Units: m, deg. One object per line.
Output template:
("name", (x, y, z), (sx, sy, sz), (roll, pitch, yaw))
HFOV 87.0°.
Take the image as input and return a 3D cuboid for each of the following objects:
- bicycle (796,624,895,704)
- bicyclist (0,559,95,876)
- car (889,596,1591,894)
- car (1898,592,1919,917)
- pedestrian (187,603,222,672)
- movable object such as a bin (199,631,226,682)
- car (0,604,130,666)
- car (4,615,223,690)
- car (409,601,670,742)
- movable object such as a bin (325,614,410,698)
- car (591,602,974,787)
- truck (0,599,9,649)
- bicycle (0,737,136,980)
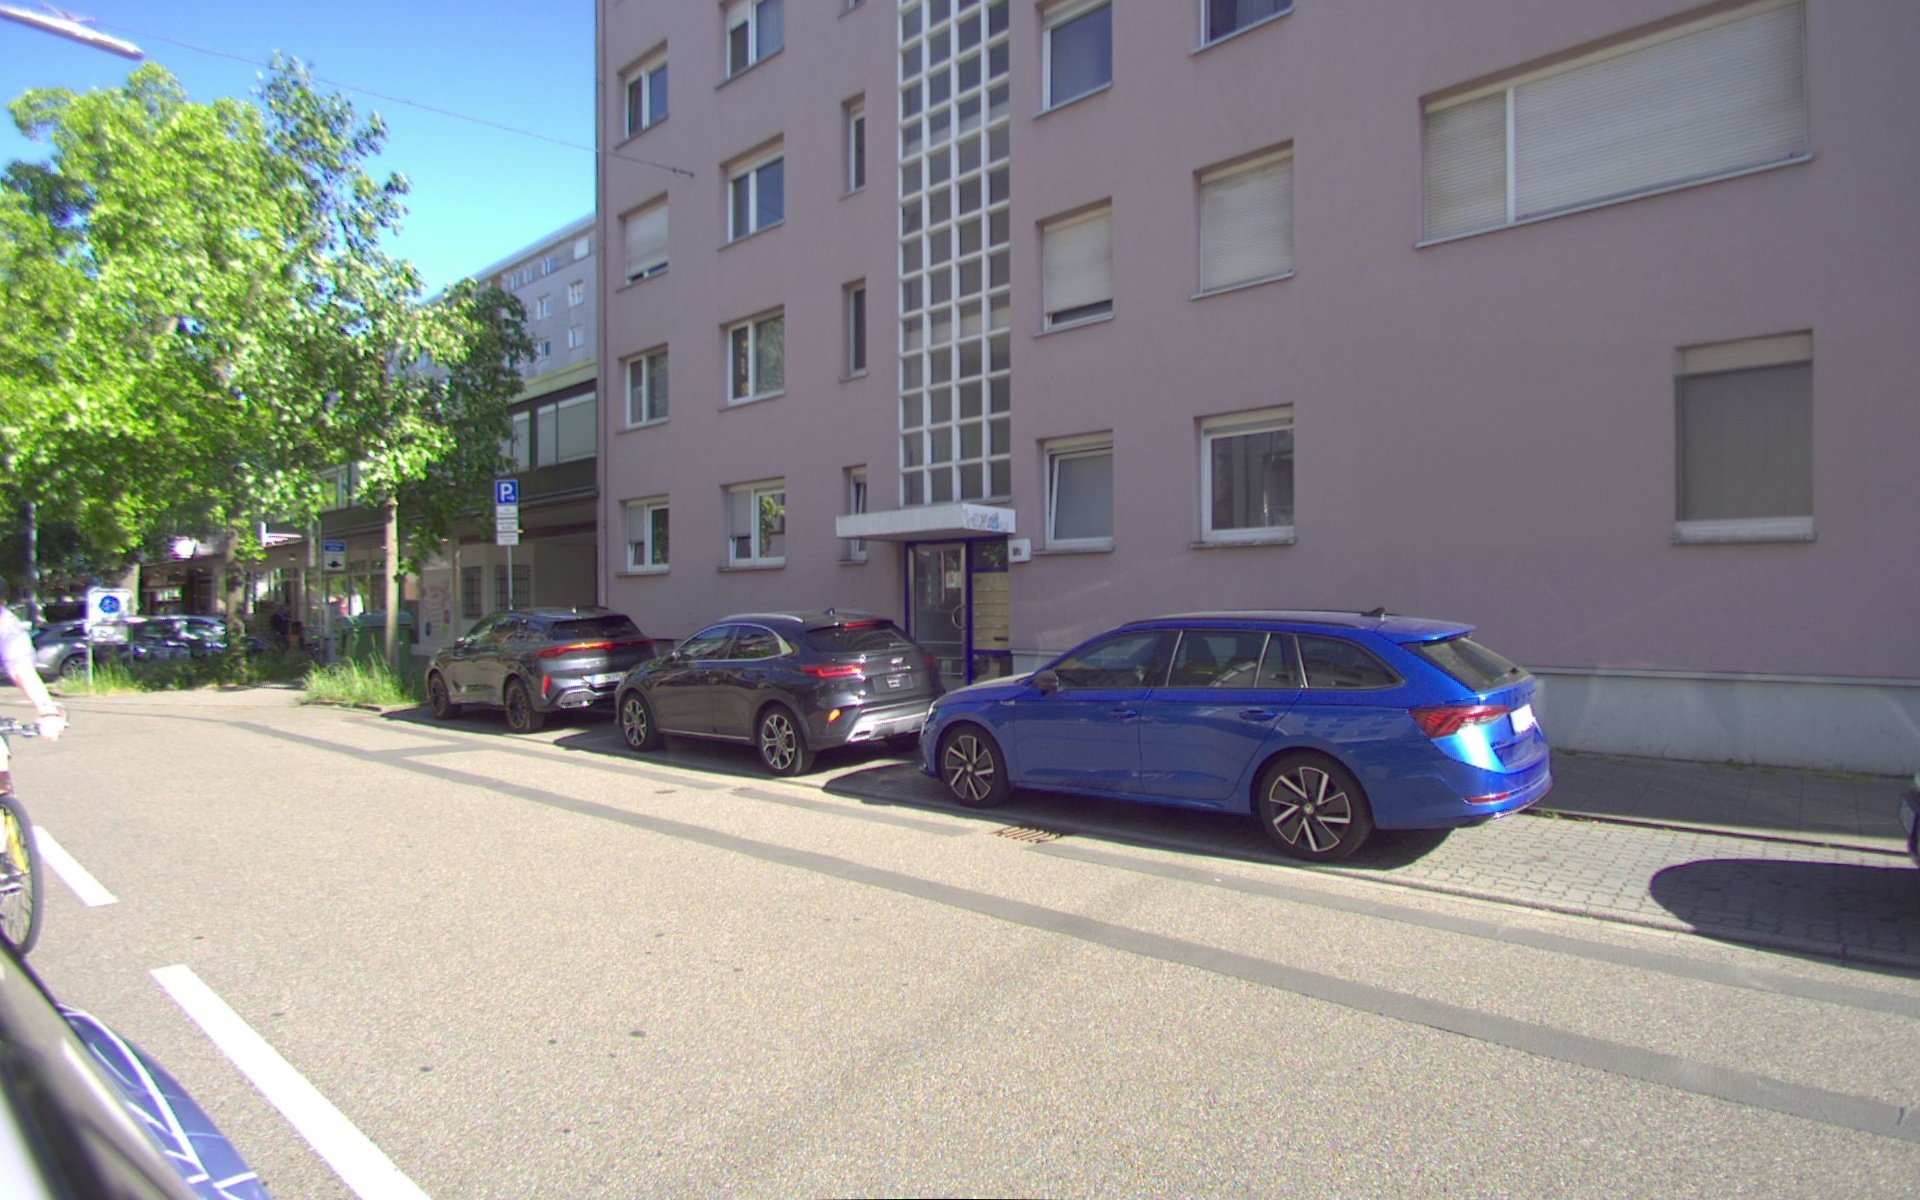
("bicycle", (-1.686, 0.903, 14.714), (1.649, 1.084, 0.386), (-1, 3, 42))
("bicyclist", (-4.562, 0.519, 4.593), (1.012, 1.357, 0.605), (-2, -2, 24))
("car", (1.727, 0.780, 7.340), (4.610, 1.476, 1.699), (-1, 1, 41))
("car", (6.326, 0.673, 3.211), (4.812, 1.477, 1.699), (-1, 0, 41))
("pedestrian", (-22.573, 1.120, 30.236), (0.566, 2.029, 0.743), (-1, -1, 41))
("movable object such as a bin", (-18.485, 1.386, 25.026), (0.409, 1.234, 0.482), (-1, -1, 41))
("car", (-31.280, 1.171, 34.830), (1.999, 2.047, 3.945), (-1, -1, 41))
("car", (-20.969, 1.230, 25.172), (1.999, 1.687, 3.945), (-1, -1, 41))
("car", (-6.050, 0.899, 14.333), (4.141, 1.604, 1.798), (-1, 2, 43))
("movable object such as a bin", (-11.573, 1.070, 19.776), (1.230, 1.557, 1.019), (0, -1, -44))
("car", (-2.038, 0.847, 10.794), (4.245, 1.519, 1.798), (-1, 1, 43))
("truck", (-52.330, 1.246, 51.593), (1.993, 2.615, 5.266), (-1, -1, 31))
("bicycle", (-4.611, 1.107, 4.596), (1.803, 0.888, 0.607), (-2, -2, 24))
